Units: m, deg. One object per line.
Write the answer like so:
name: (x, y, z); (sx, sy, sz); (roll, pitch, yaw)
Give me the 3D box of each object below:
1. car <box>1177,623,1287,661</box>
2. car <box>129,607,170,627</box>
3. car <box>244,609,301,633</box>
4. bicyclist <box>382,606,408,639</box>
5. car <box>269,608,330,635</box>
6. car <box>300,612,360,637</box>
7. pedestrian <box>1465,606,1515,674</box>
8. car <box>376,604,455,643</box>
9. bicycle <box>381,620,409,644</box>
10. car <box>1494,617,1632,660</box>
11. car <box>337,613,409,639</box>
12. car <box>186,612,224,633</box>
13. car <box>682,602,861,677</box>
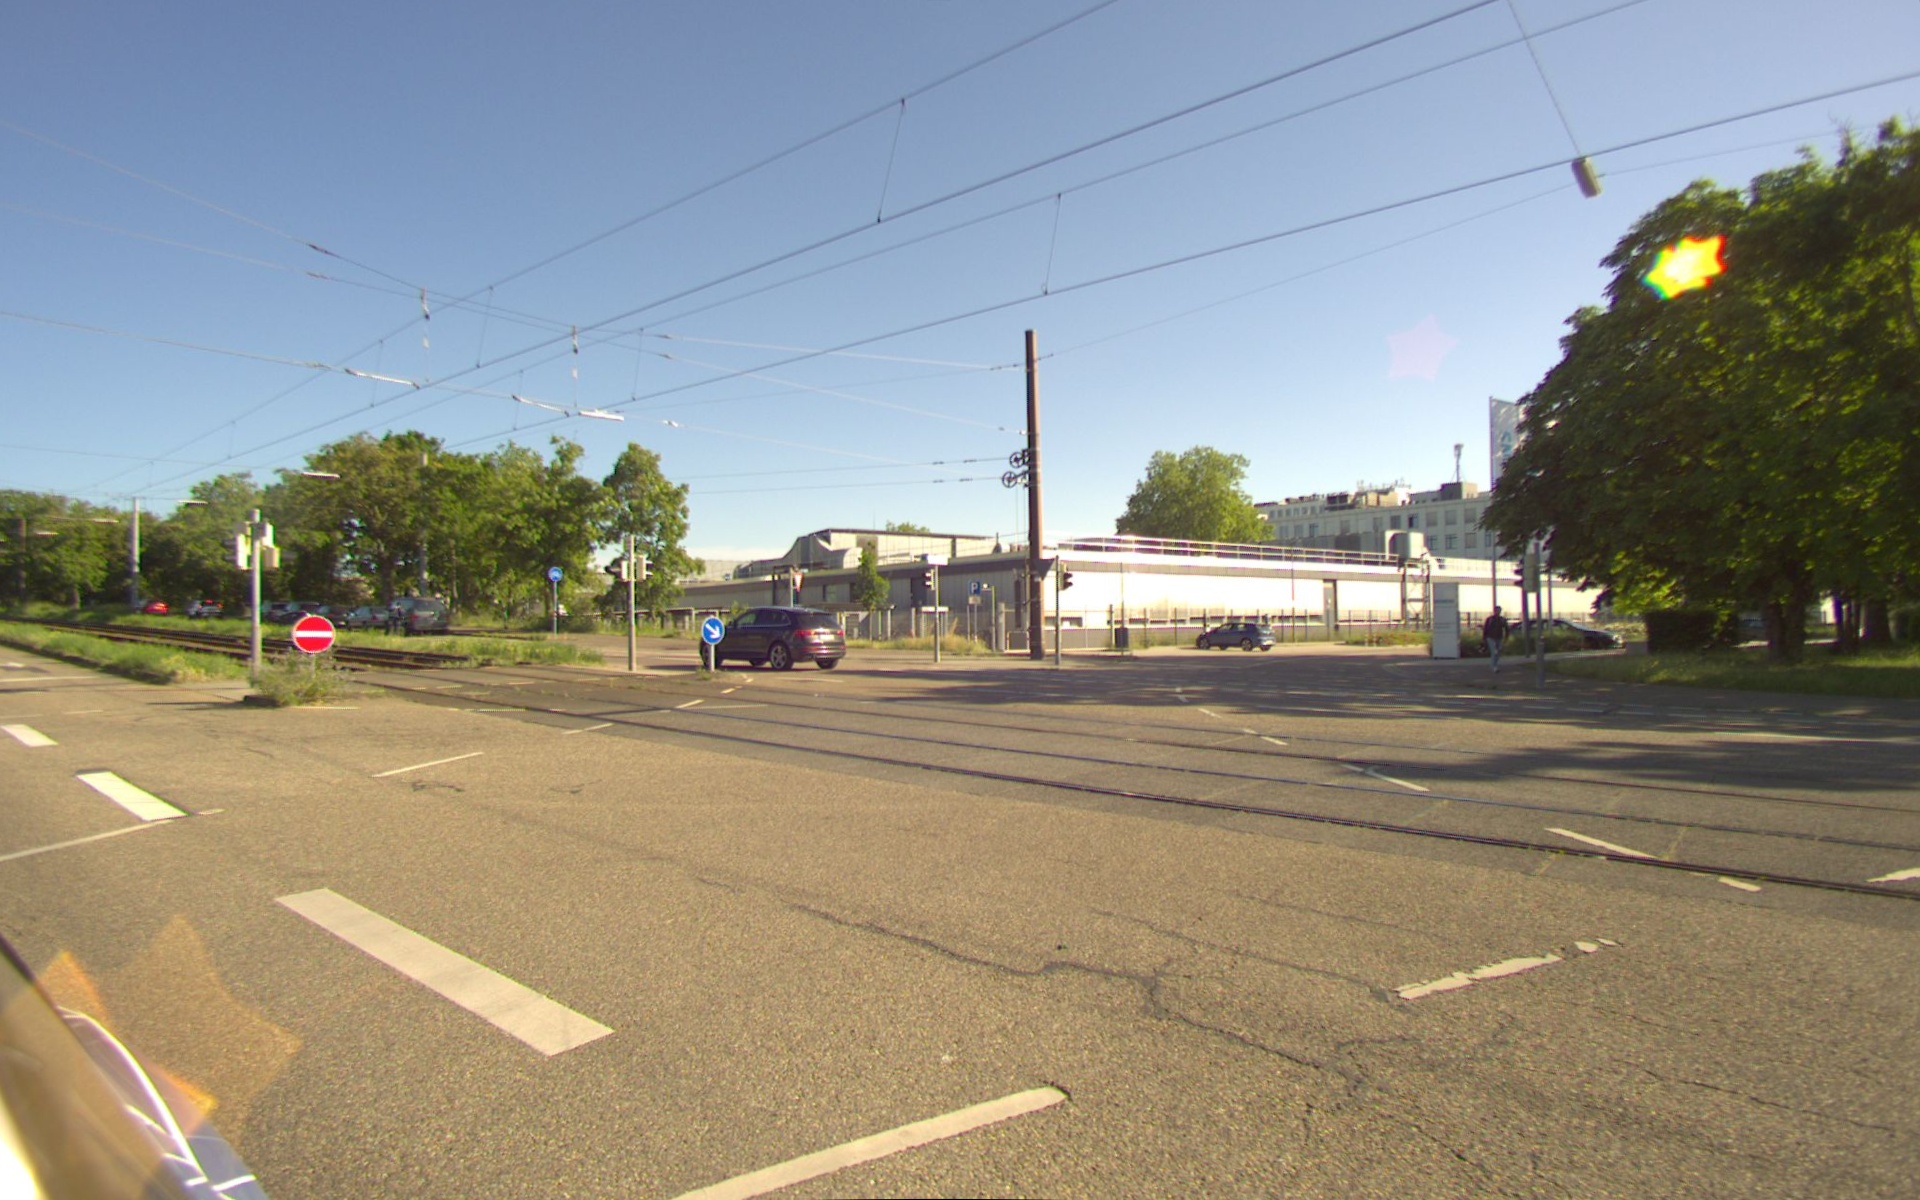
car: (13.972, 2.119, 52.258); (2.138, 1.762, 5.304); (0, 0, -37)
car: (-73.049, 1.522, 91.143); (4.798, 1.746, 2.290); (-1, -1, 44)
car: (-47.024, 1.410, 69.197); (4.558, 1.575, 2.103); (-1, 0, 41)
bicyclist: (-28.058, 1.130, 50.271); (1.236, 1.605, 0.794); (-1, 0, 42)
car: (-42.230, 1.367, 64.680); (4.615, 1.599, 2.102); (-1, 0, 42)
car: (-38.063, 1.473, 61.094); (4.487, 1.437, 1.934); (-1, 0, 42)
pedestrian: (14.426, 1.083, 27.537); (0.938, 1.801, 0.823); (0, -2, -34)
car: (-28.156, 1.192, 52.290); (4.684, 1.949, 2.178); (-1, -1, 43)
bicycle: (-28.122, 1.581, 50.338); (1.781, 1.110, 0.689); (-1, 0, 43)
car: (26.622, 1.639, 44.798); (2.019, 1.741, 4.848); (0, 0, -39)
car: (-33.117, 1.444, 57.045); (4.612, 1.391, 2.103); (-1, 0, 40)
car: (-59.737, 1.768, 80.029); (1.834, 1.569, 4.159); (0, 0, -44)
car: (-5.072, 1.013, 26.933); (4.788, 1.824, 2.072); (-1, -3, 40)
